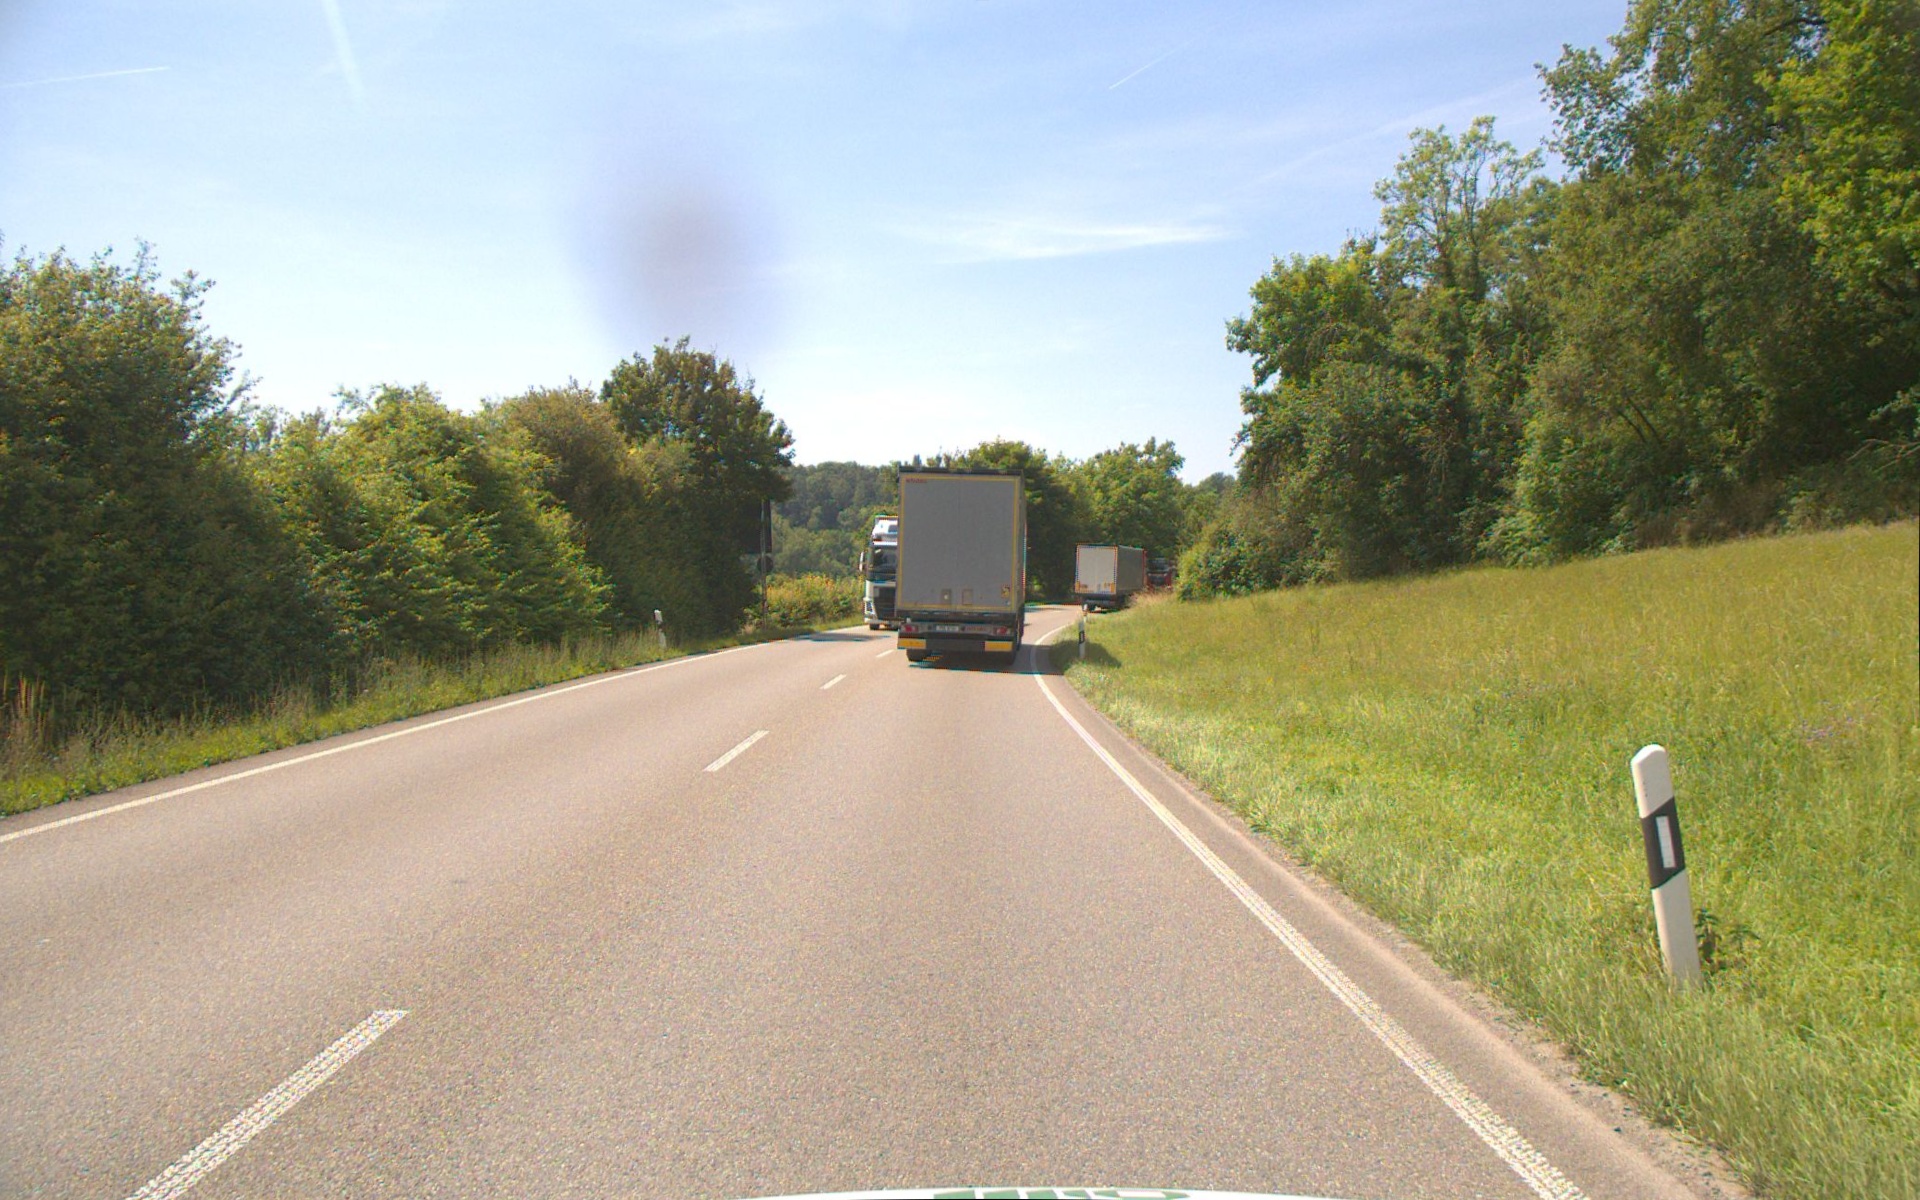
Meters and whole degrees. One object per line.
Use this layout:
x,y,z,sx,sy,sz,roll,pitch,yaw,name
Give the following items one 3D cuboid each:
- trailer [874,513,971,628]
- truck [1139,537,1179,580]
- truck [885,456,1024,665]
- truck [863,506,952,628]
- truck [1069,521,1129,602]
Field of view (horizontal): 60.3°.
-1.342,-1.143,67.943,2.514,4.179,13.670,2,0,4,trailer
18.594,-3.937,153.659,2.498,3.511,12.649,-3,2,12,truck
-0.021,-0.795,40.670,2.744,4.140,15.326,0,0,1,truck
-1.861,-1.176,60.990,2.505,4.187,5.803,2,0,4,truck
9.082,-2.429,106.592,3.039,4.787,16.604,0,1,8,truck
